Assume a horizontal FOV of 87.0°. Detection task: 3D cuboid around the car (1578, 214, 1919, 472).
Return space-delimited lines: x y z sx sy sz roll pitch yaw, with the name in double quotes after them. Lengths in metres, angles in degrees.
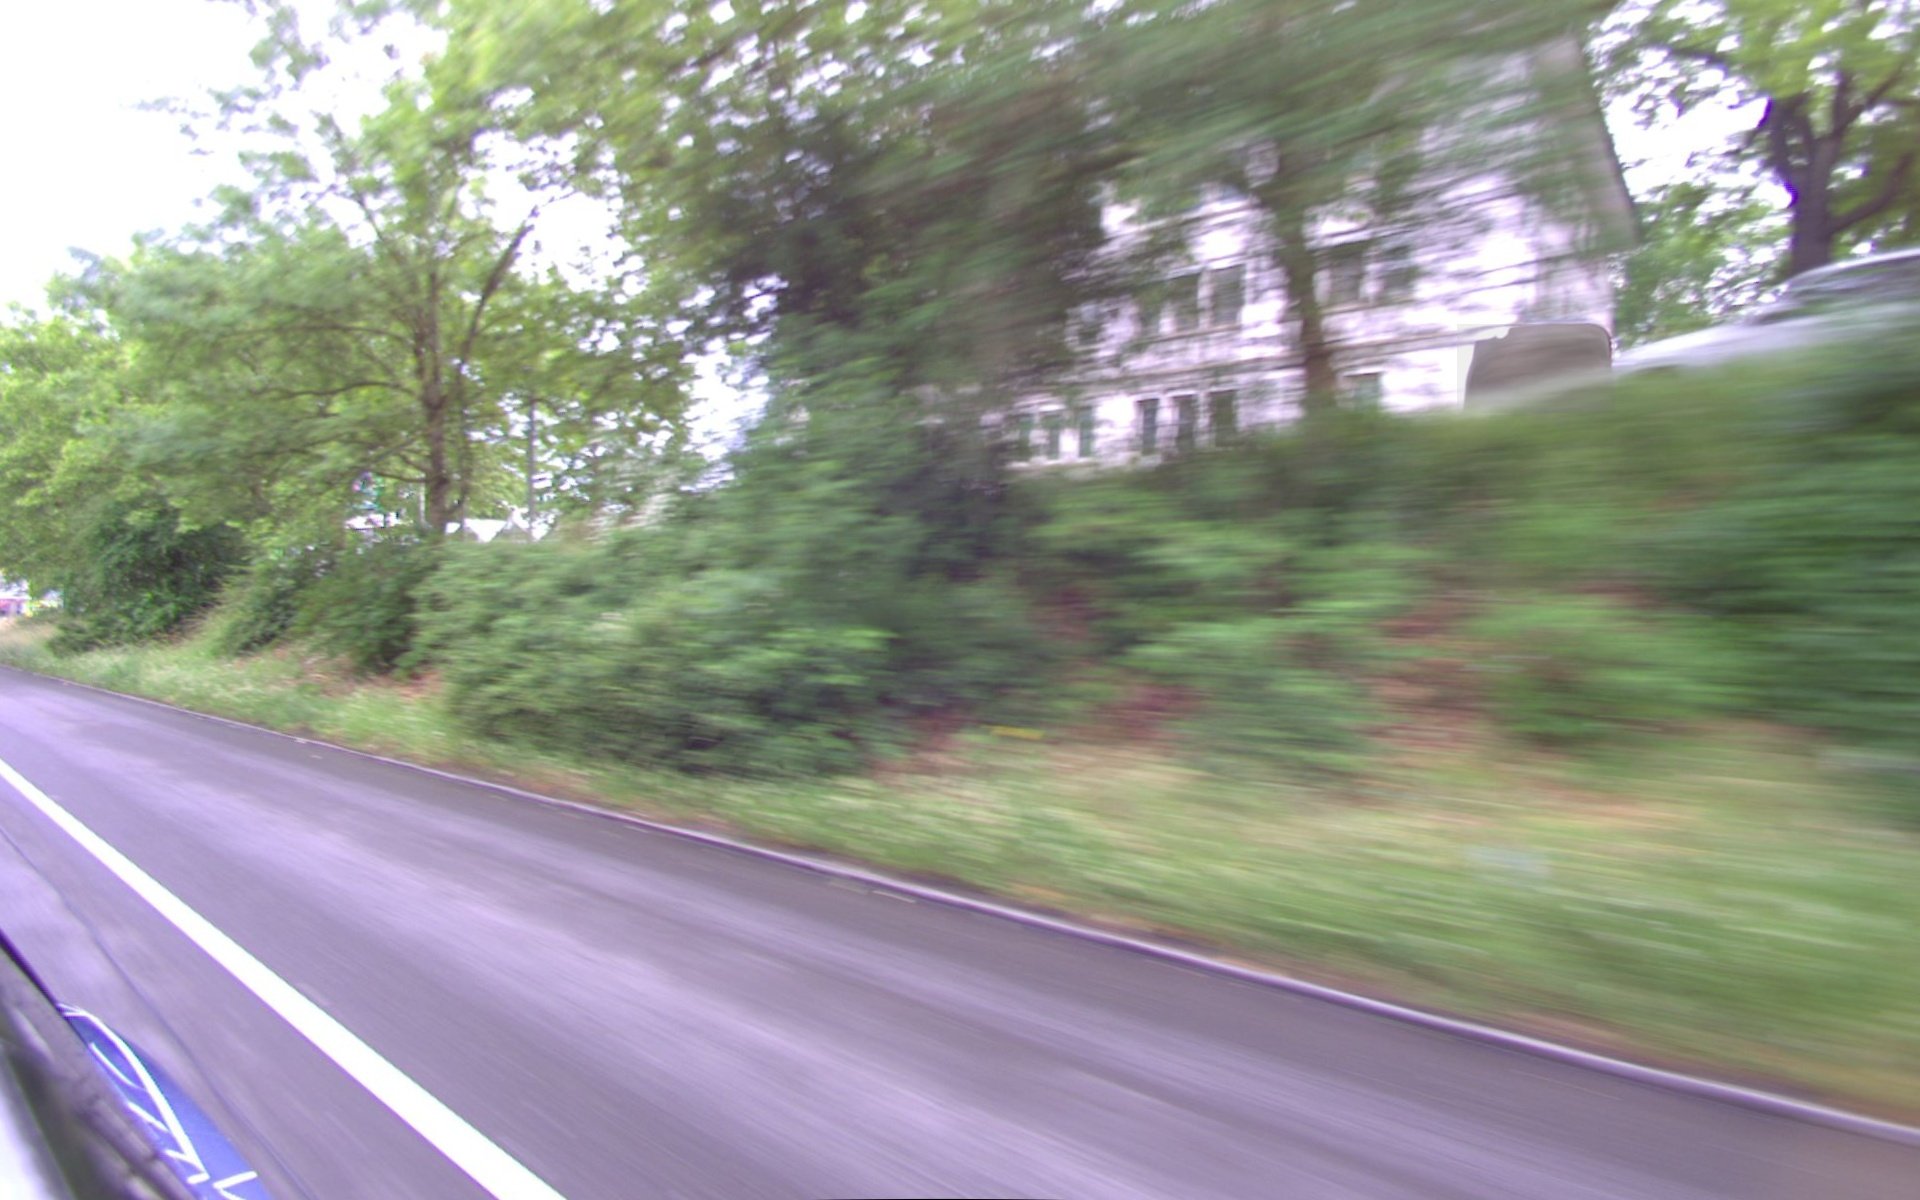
9.070 -2.652 10.880 3.992 2.029 1.976 -1 0 36 "car"
